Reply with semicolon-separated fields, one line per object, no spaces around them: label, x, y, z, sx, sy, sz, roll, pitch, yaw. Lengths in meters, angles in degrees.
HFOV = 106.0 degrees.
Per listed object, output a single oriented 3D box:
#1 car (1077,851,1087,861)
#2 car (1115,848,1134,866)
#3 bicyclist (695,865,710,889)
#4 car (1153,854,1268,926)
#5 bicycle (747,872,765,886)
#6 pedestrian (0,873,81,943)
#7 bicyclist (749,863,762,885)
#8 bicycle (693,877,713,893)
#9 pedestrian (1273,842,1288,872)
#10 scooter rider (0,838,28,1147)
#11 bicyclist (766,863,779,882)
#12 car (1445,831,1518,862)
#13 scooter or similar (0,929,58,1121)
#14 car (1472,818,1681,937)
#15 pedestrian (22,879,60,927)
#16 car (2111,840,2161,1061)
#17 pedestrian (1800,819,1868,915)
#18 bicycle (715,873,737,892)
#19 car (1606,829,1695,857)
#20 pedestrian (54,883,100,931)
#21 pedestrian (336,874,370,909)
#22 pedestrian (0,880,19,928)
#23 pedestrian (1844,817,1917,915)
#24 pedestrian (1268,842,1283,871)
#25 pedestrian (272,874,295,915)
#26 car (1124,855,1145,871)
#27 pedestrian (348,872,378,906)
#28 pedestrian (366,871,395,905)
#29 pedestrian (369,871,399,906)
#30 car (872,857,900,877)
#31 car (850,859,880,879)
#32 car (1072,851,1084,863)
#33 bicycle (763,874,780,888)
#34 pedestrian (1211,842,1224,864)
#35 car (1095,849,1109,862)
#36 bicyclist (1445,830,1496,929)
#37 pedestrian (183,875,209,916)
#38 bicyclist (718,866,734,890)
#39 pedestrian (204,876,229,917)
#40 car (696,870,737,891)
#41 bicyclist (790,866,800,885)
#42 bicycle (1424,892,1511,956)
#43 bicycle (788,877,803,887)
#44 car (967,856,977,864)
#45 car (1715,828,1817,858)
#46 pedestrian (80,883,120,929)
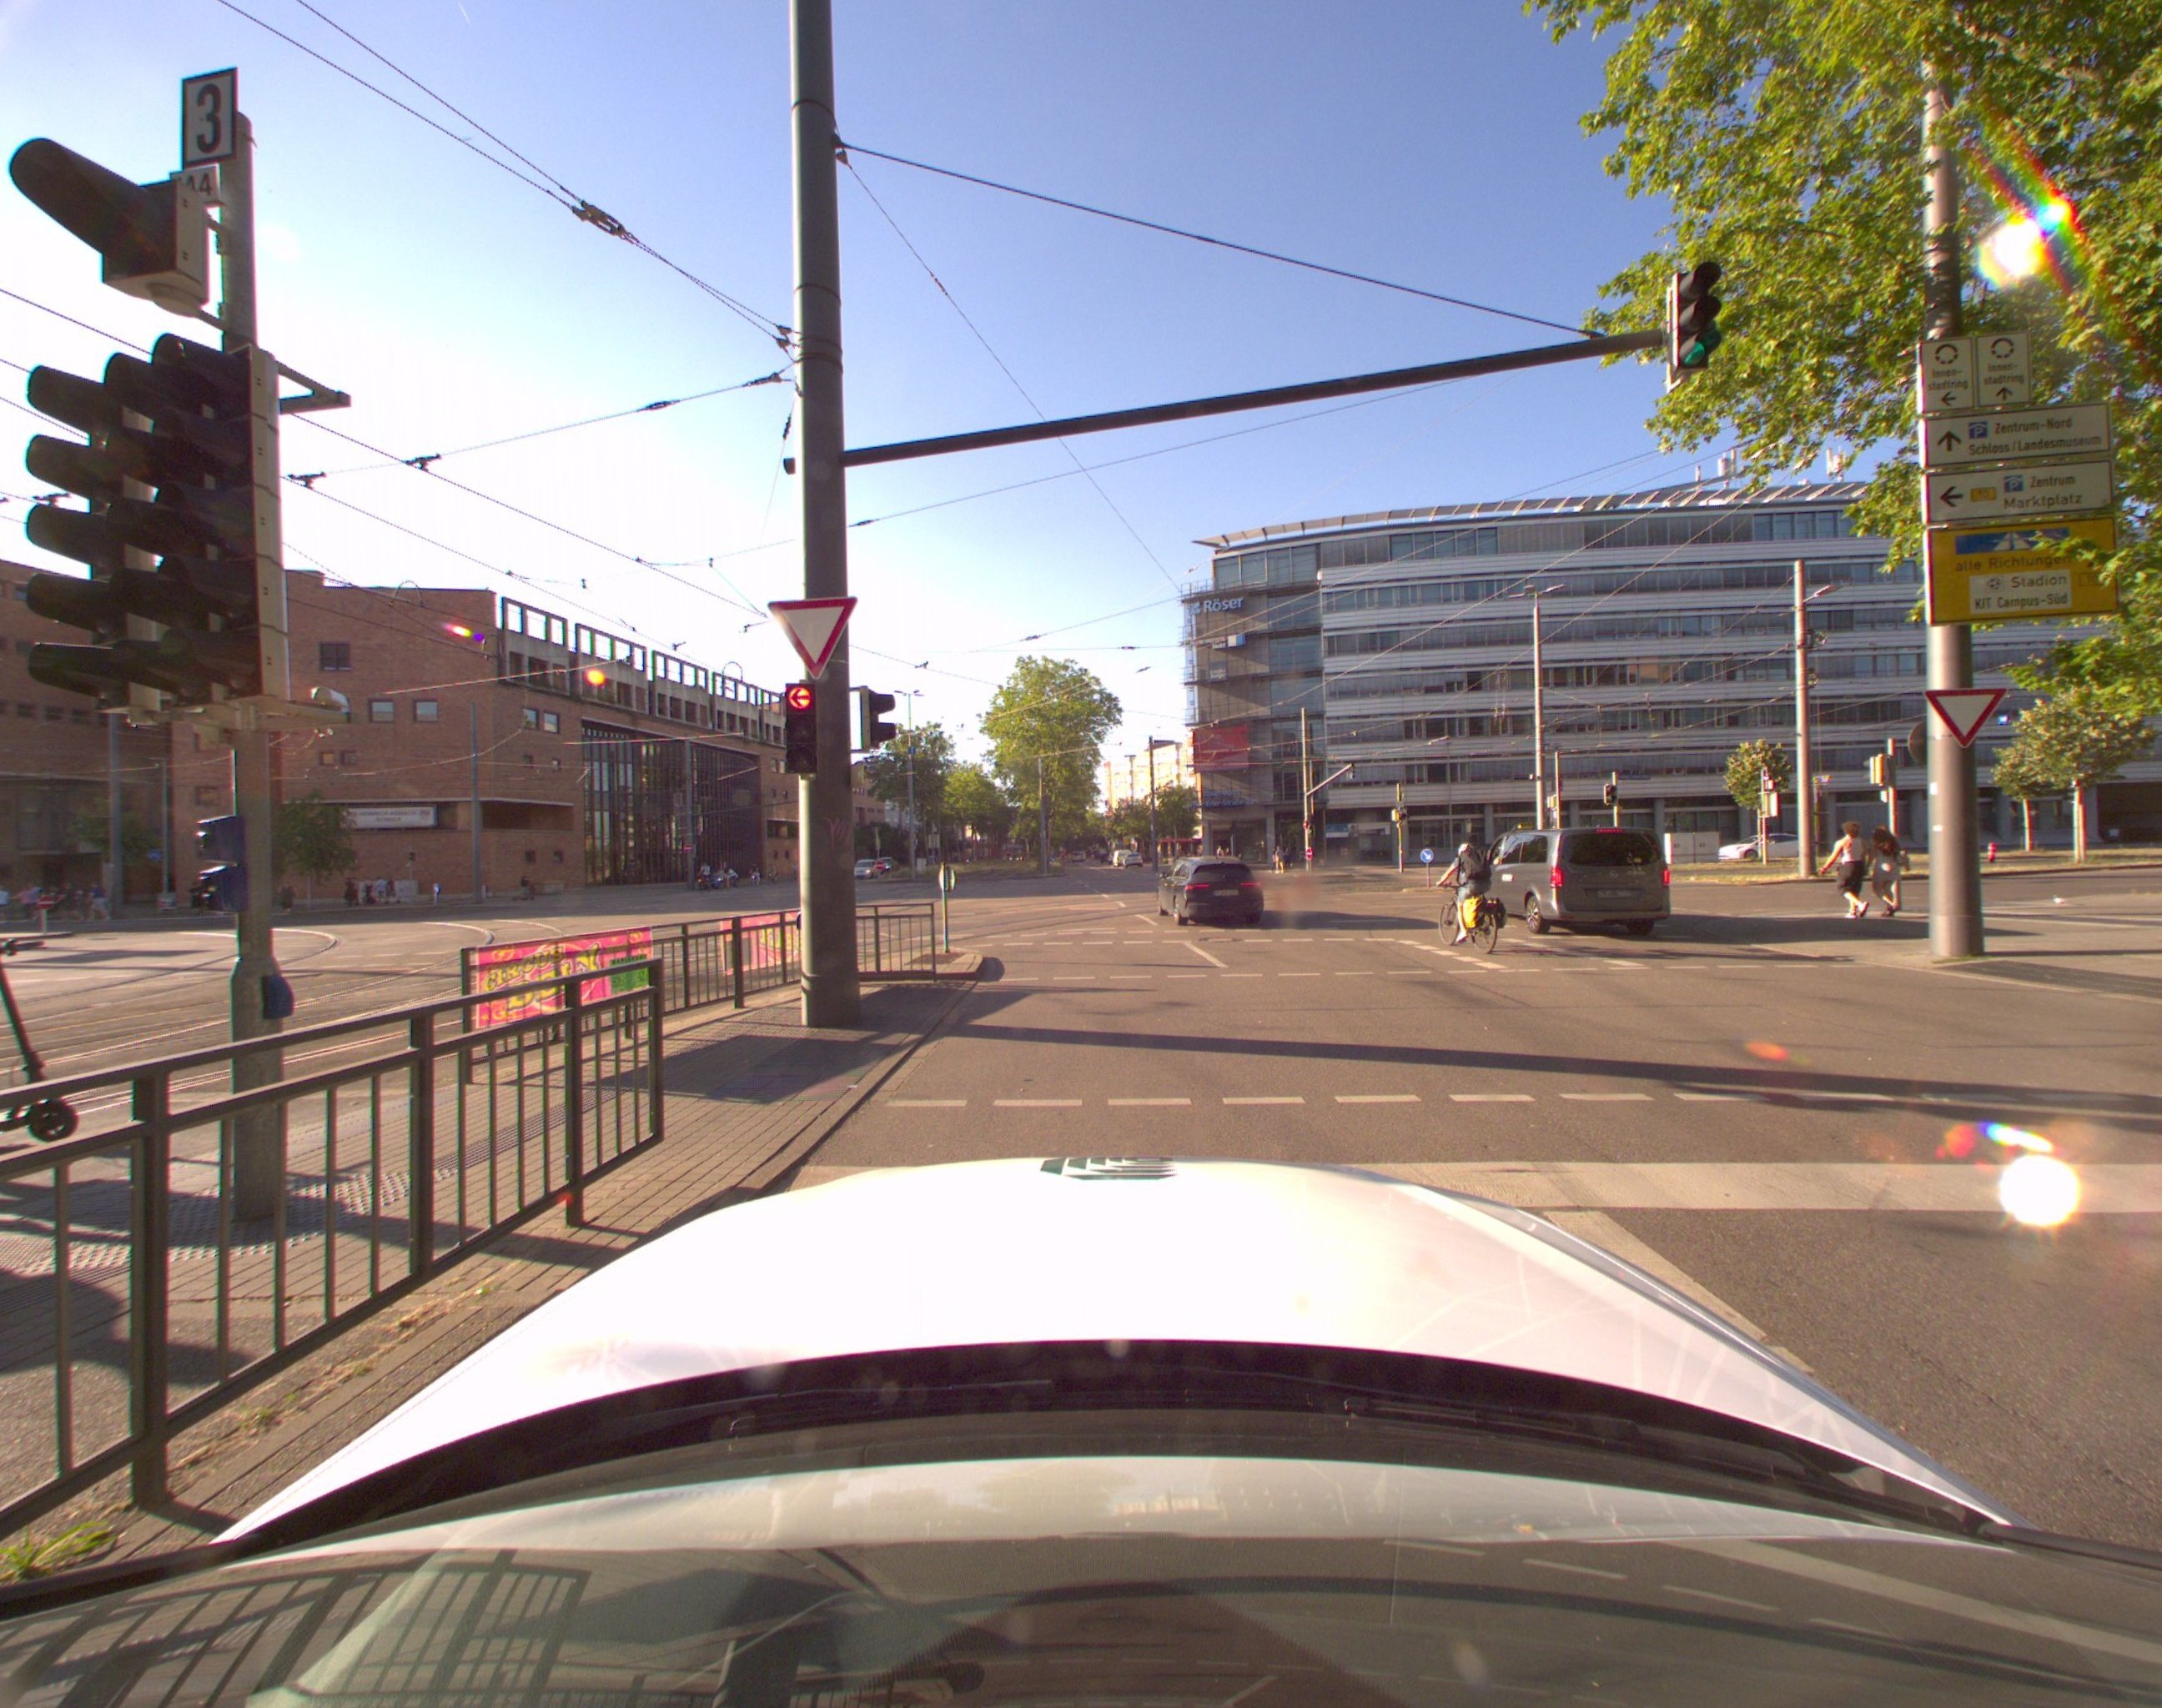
car;0.168;0.450;164.287;1.987;2.014;4.000;0;-1;0
car;4.736;0.341;89.619;1.986;2.014;4.001;0;-1;2
bicyclist;-24.538;1.485;52.807;0.660;1.574;0.756;-2;0;-9
car;2.785;0.713;18.406;1.759;1.404;4.293;-1;0;-2
bicycle;-24.208;1.868;60.668;0.692;0.998;1.898;-2;0;-5
pedestrian;-31.083;1.590;24.285;1.029;2.014;1.208;0;-1;1
bicyclist;-24.204;1.476;60.561;0.660;1.569;0.757;-2;0;-6
bicycle;-24.541;2.001;52.933;0.652;0.998;1.896;-2;0;-9
pedestrian;13.575;0.229;55.459;0.866;2.014;0.794;0;-1;1
scooter rider;-6.796;0.831;4.689;0.563;1.853;0.681;-2;-2;6
bicyclist;-24.365;1.439;64.338;0.652;1.474;1.031;-1;-1;-3
car;27.137;-0.487;55.254;3.972;2.014;2.001;0;-1;2
scooter or similar;-6.824;1.016;4.649;1.196;1.081;0.649;-2;0;5
car;9.138;0.368;15.564;1.987;1.896;4.900;-1;0;13
pedestrian;-45.062;2.110;35.291;0.782;2.013;0.651;-2;0;-1
car;8.014;0.630;3.552;1.742;1.459;4.212;-1;0;0
pedestrian;14.192;0.246;15.362;0.671;1.759;0.746;-2;0;22
bicycle;-23.332;1.861;53.539;0.684;1.142;2.106;-2;2;-7
car;33.787;-0.640;48.401;3.966;1.552;1.800;0;-1;6
pedestrian;-43.371;2.279;35.199;0.782;1.983;0.927;-2;0;0
pedestrian;-43.357;2.201;48.512;1.155;2.013;0.910;-2;0;-2
pedestrian;-45.745;2.114;34.480;0.728;2.013;0.614;-2;0;-1
pedestrian;14.823;0.216;15.122;0.677;1.759;0.746;-2;0;22
pedestrian;13.654;0.204;57.220;0.847;2.014;0.707;0;-1;-2
pedestrian;-40.392;2.037;41.251;0.615;2.013;0.726;-2;0;-29
car;5.449;0.899;82.849;2.022;1.596;4.001;0;-1;2
pedestrian;-43.908;2.126;49.792;1.003;2.052;0.850;-2;0;-1
pedestrian;-43.845;2.130;50.968;1.003;2.052;0.850;-2;0;-1
pedestrian;-42.902;2.112;50.121;1.003;2.052;0.850;-2;0;-1
car;-18.105;1.200;75.669;1.819;1.790;3.994;-2;0;-4
car;-17.967;1.229;67.878;1.618;1.577;3.994;-2;0;-4
car;-0.538;0.582;146.940;1.985;2.014;4.002;0;-2;3
bicycle;-24.327;2.147;64.068;0.650;1.050;2.010;-1;0;-3
pedestrian;13.663;-0.072;81.638;1.305;2.190;1.173;0;-1;8
car;3.282;0.250;126.756;1.986;2.014;4.001;0;-1;2
bicyclist;5.802;0.373;12.150;0.485;1.439;0.616;0;0;1
pedestrian;-44.008;2.057;40.512;0.615;2.013;0.726;-2;0;-28
bicyclist;-23.346;1.560;53.564;0.681;1.560;0.757;-2;0;-7
pedestrian;-43.339;2.110;40.828;0.615;2.013;0.726;-2;0;-28
car;-26.832;1.939;60.120;1.578;1.376;3.709;-2;0;-5
bicyclist;-24.500;1.863;69.759;0.585;1.625;0.514;-2;0;-3
bicycle;5.814;1.024;12.361;0.489;0.788;1.862;-1;0;2
bicycle;-24.481;2.400;69.827;0.588;0.771;1.966;-2;0;-2
car;-21.651;1.218;162.070;1.673;1.607;3.994;0;-1;-4
car;37.939;-0.573;45.171;3.968;1.596;1.884;0;-1;5
pedestrian;-43.408;2.287;36.050;0.782;1.983;0.751;-2;0;-1
